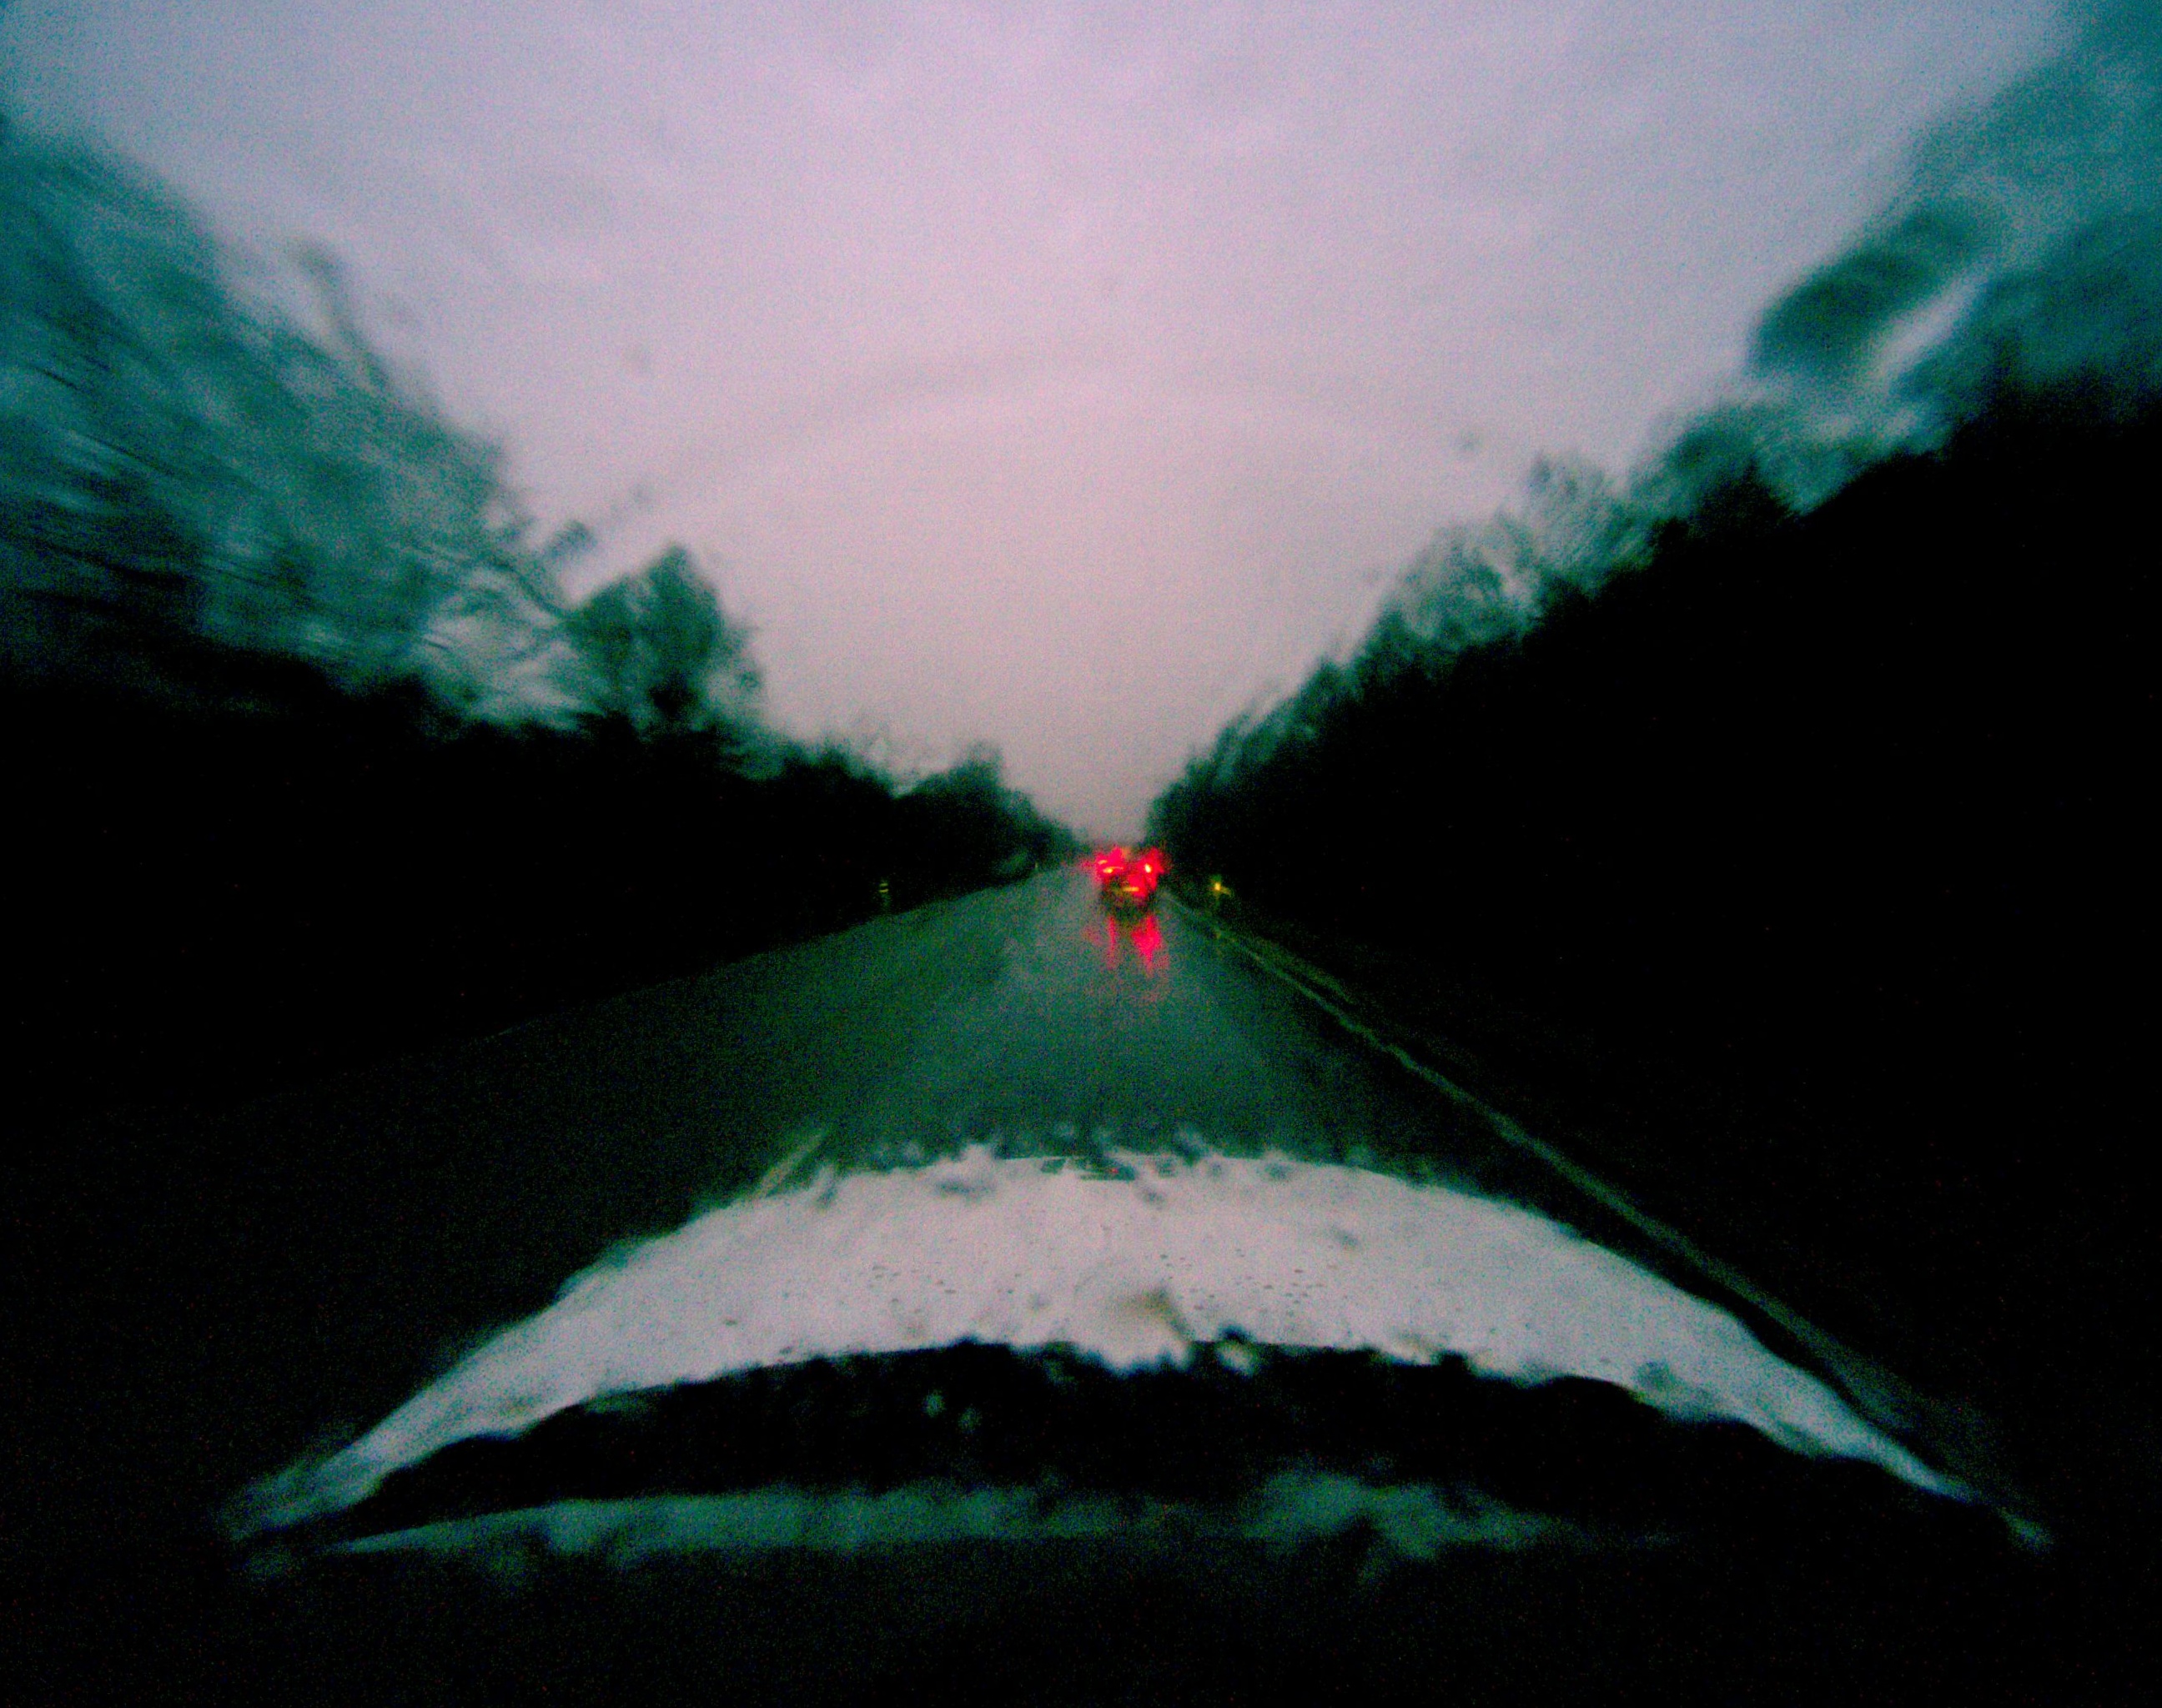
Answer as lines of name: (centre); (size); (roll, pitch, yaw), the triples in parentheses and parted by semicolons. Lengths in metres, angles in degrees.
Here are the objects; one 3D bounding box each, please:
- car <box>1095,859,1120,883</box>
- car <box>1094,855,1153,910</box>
car: (1.995, 1.231, 59.843); (1.720, 1.643, 4.003); (-1, -1, 3)
car: (1.385, 0.881, 26.488); (1.720, 1.643, 4.003); (-1, -1, 3)
